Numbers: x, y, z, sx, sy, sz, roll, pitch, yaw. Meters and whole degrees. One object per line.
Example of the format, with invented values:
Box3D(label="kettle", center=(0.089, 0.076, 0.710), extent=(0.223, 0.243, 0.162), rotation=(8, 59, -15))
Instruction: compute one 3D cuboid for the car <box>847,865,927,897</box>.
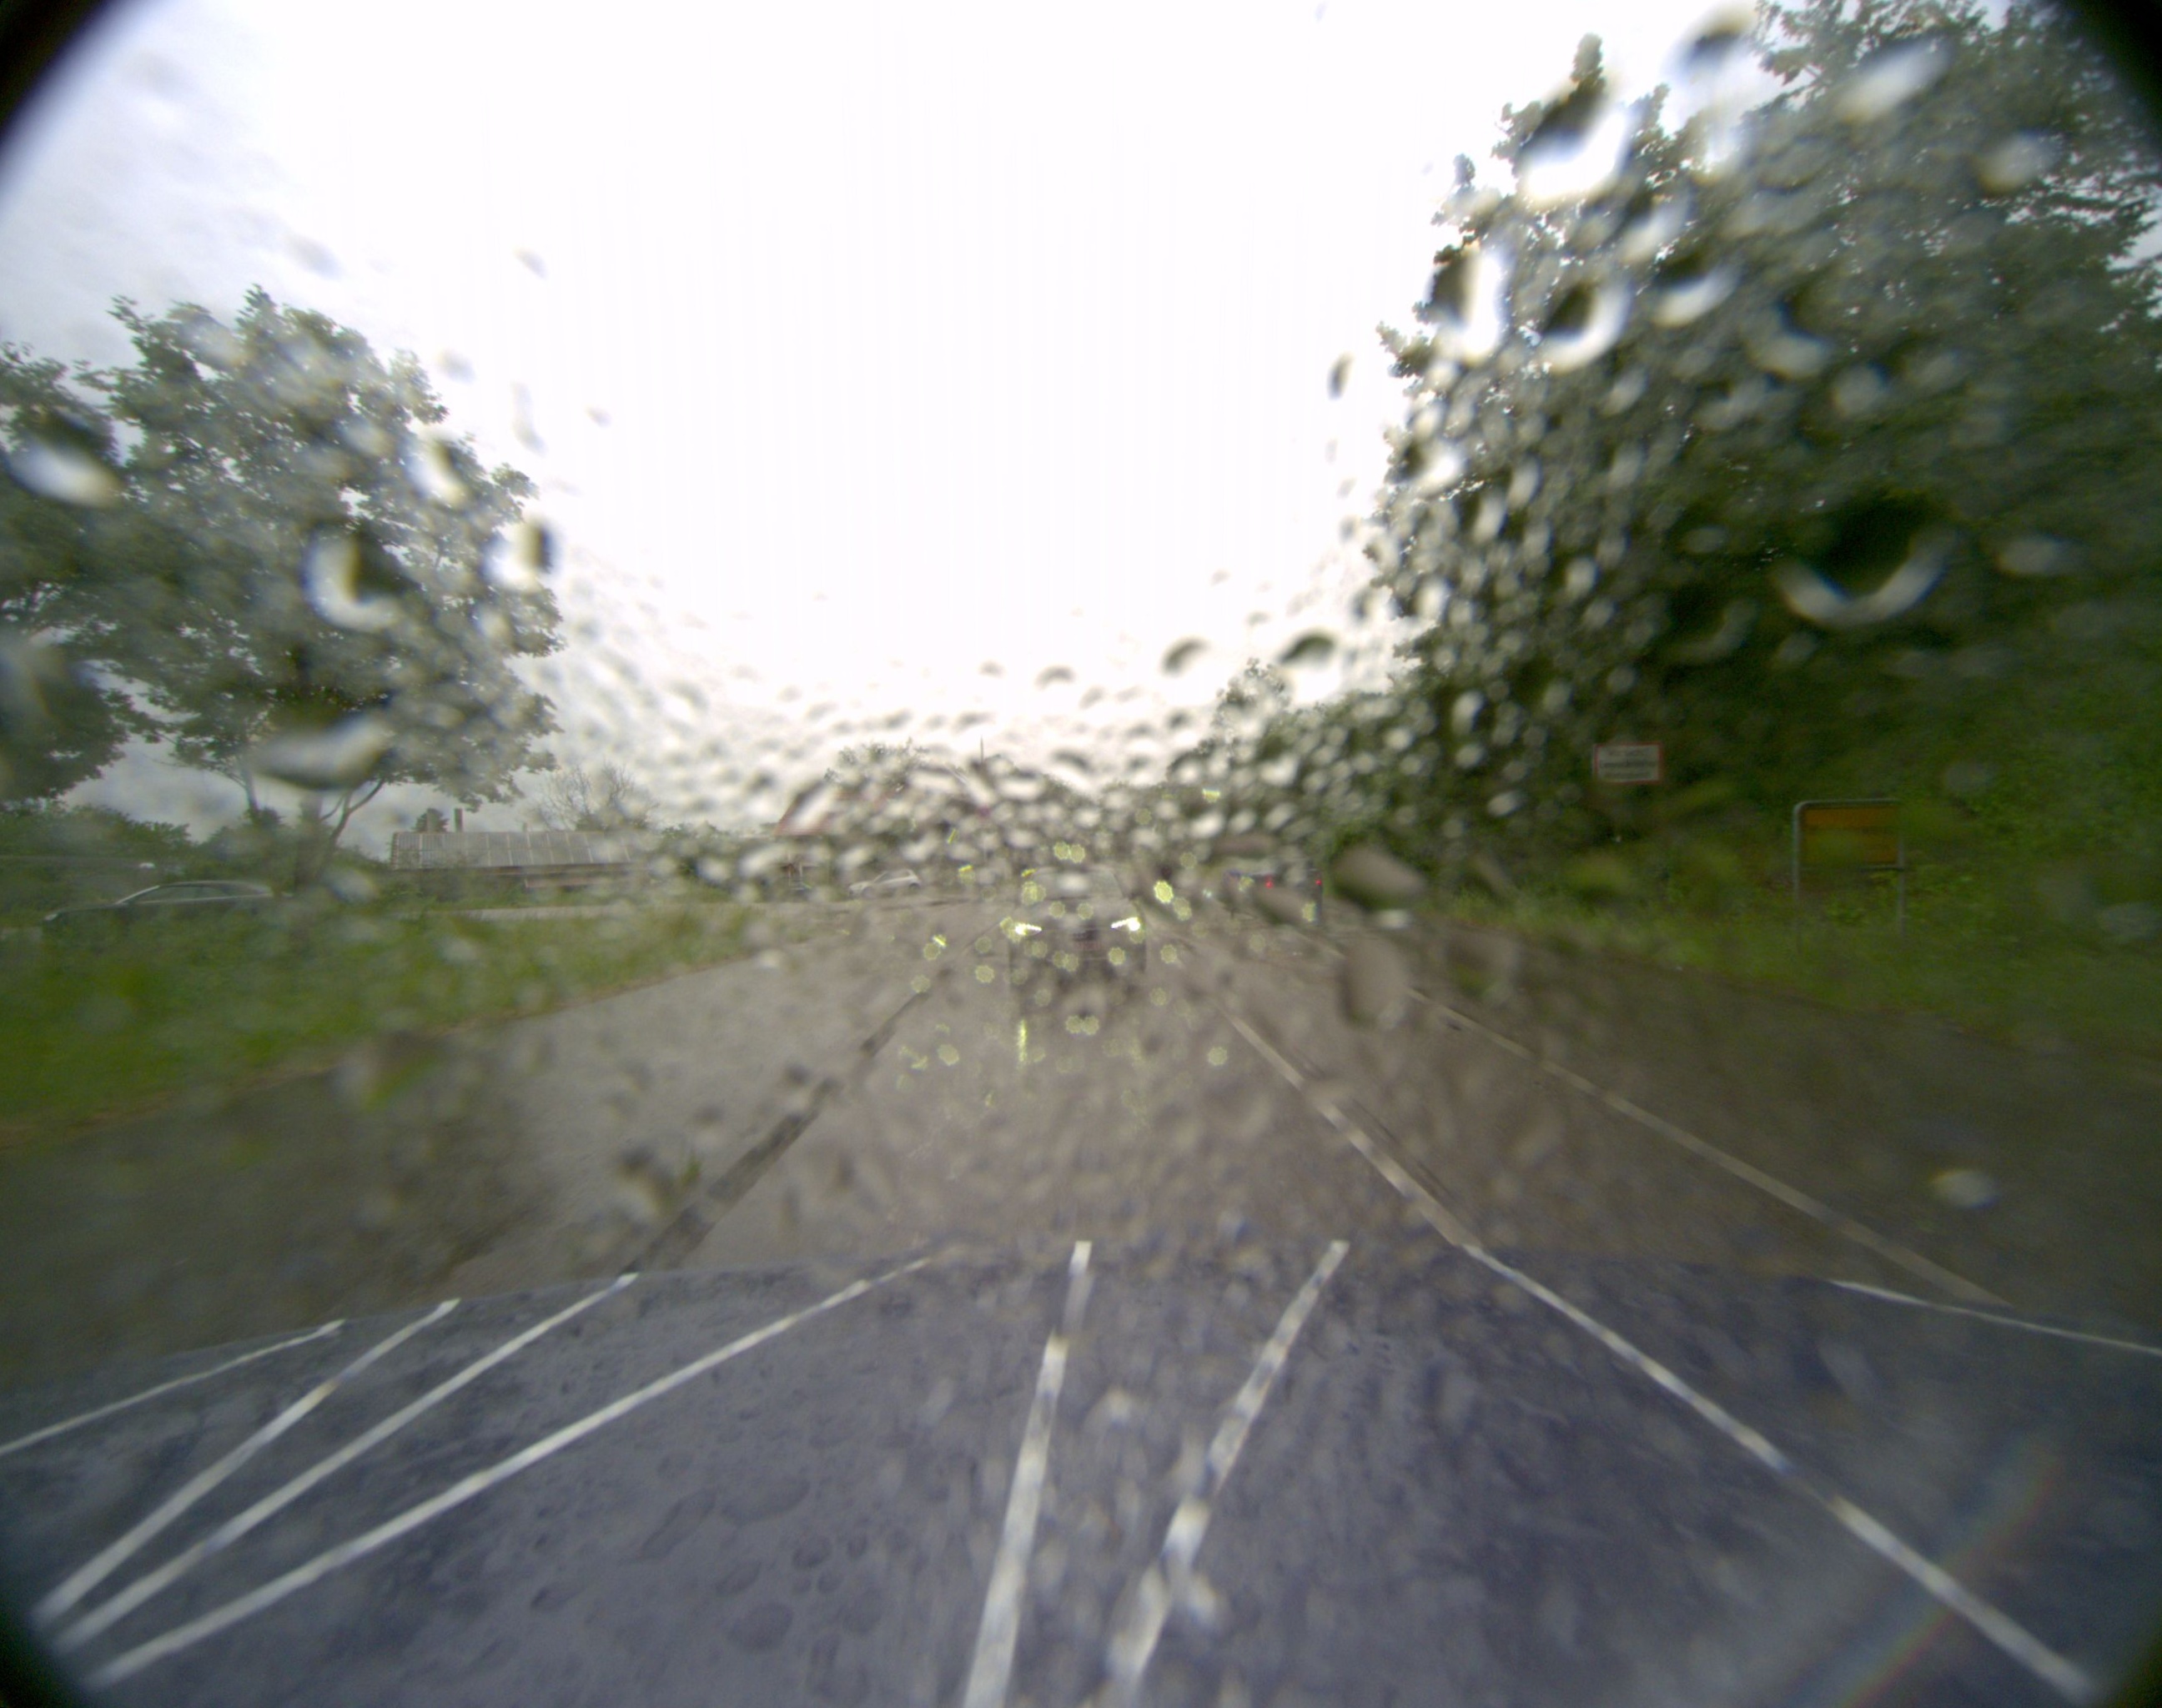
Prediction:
Box3D(label="car", center=(-10.773, 1.474, 42.240), extent=(3.862, 1.523, 1.715), rotation=(-4, 1, -31))

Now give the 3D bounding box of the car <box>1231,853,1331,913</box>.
Box3D(label="car", center=(5.506, 0.734, 21.411), extent=(1.695, 1.478, 4.072), rotation=(-2, 0, 0))

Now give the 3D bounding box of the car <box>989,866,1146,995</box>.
Box3D(label="car", center=(-0.088, 0.936, 11.187), extent=(1.766, 1.316, 4.549), rotation=(-3, 0, 2))

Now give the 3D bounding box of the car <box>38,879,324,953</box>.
Box3D(label="car", center=(-21.913, 1.446, 18.810), extent=(4.117, 1.351, 1.900), rotation=(-4, 1, -33))
